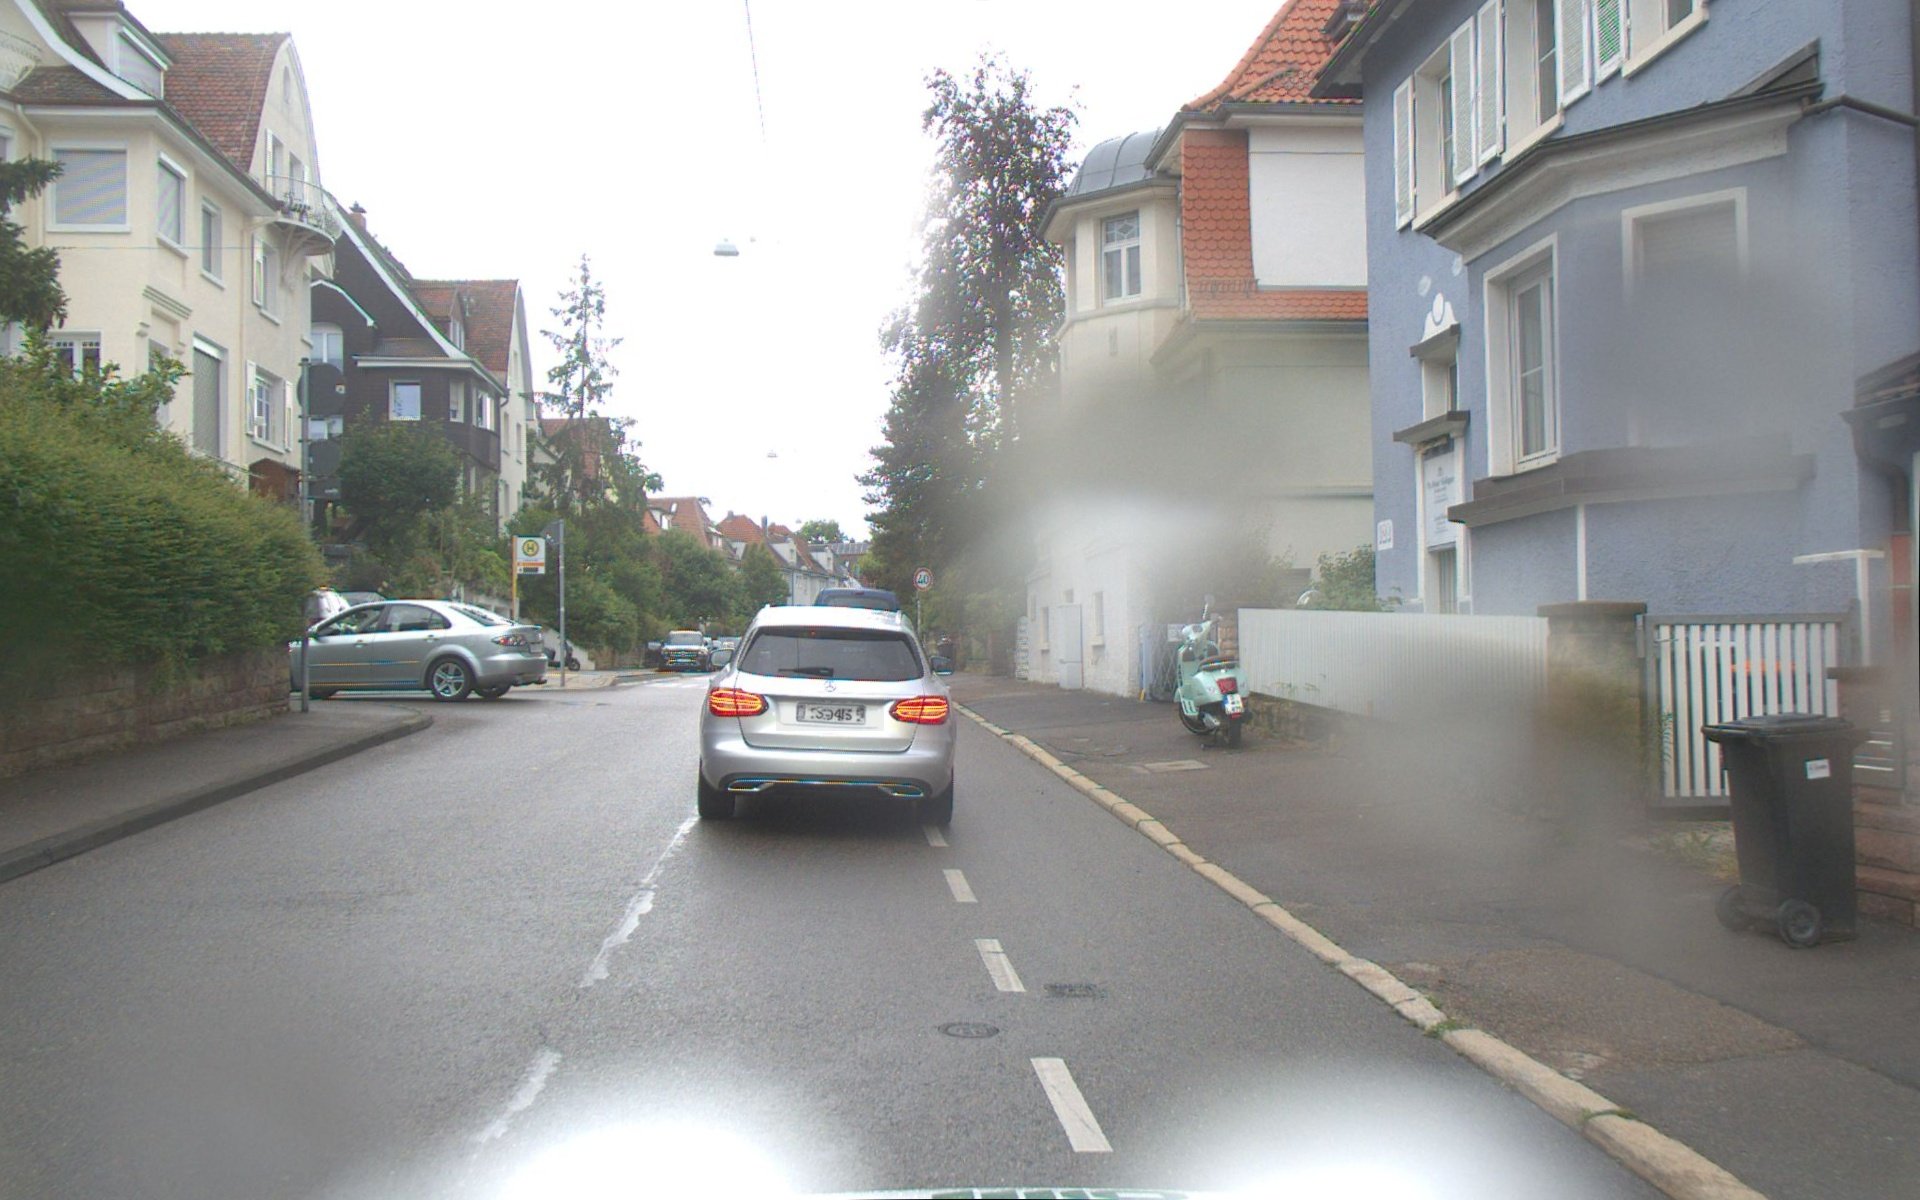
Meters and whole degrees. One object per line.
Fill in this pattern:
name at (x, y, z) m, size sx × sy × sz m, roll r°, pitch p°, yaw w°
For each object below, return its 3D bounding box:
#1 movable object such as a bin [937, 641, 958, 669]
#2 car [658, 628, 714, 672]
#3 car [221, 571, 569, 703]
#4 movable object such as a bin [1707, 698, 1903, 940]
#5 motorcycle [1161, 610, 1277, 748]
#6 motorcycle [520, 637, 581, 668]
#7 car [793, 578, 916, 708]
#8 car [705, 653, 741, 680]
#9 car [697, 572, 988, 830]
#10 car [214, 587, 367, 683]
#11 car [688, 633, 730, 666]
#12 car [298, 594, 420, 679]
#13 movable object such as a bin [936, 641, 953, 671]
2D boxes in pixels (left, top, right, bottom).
movable object such as a bin at (-0.408, 1.794, 54.040) m, size 0.638 × 0.871 × 0.502 m, roll 0°, pitch -1°, yaw -7°
car at (-10.659, 1.961, 64.538) m, size 1.857 × 1.651 × 4.372 m, roll 1°, pitch -2°, yaw -6°
car at (-8.045, 0.524, 23.798) m, size 4.274 × 1.584 × 1.823 m, roll 3°, pitch -1°, yaw 3°
movable object such as a bin at (3.584, 0.912, 7.040) m, size 0.522 × 0.934 × 0.487 m, roll -3°, pitch 0°, yaw -7°
motorcycle at (2.592, 0.758, 16.807) m, size 0.679 × 1.247 × 2.153 m, roll -6°, pitch 0°, yaw -1°
motorcycle at (-12.965, 1.660, 52.403) m, size 1.759 × 0.919 × 0.602 m, roll 2°, pitch -3°, yaw -6°
car at (-1.640, 0.748, 26.909) m, size 1.805 × 1.937 × 3.998 m, roll 1°, pitch -3°, yaw -1°
car at (-12.968, 3.657, 90.639) m, size 1.661 × 1.472 × 3.809 m, roll 0°, pitch -2°, yaw -5°
car at (-0.888, 0.655, 12.291) m, size 1.781 × 1.584 × 3.996 m, roll 1°, pitch -1°, yaw -5°
car at (-12.209, 0.616, 30.421) m, size 1.733 × 1.646 × 3.991 m, roll 0°, pitch -1°, yaw -9°
car at (-12.023, 2.347, 79.439) m, size 1.722 × 1.472 × 4.410 m, roll 0°, pitch 0°, yaw -6°
car at (-12.921, 0.760, 35.787) m, size 1.733 × 1.726 × 3.991 m, roll 0°, pitch -1°, yaw -9°
movable object such as a bin at (-0.516, 1.847, 54.573) m, size 0.485 × 0.972 × 0.502 m, roll 0°, pitch -1°, yaw -7°
